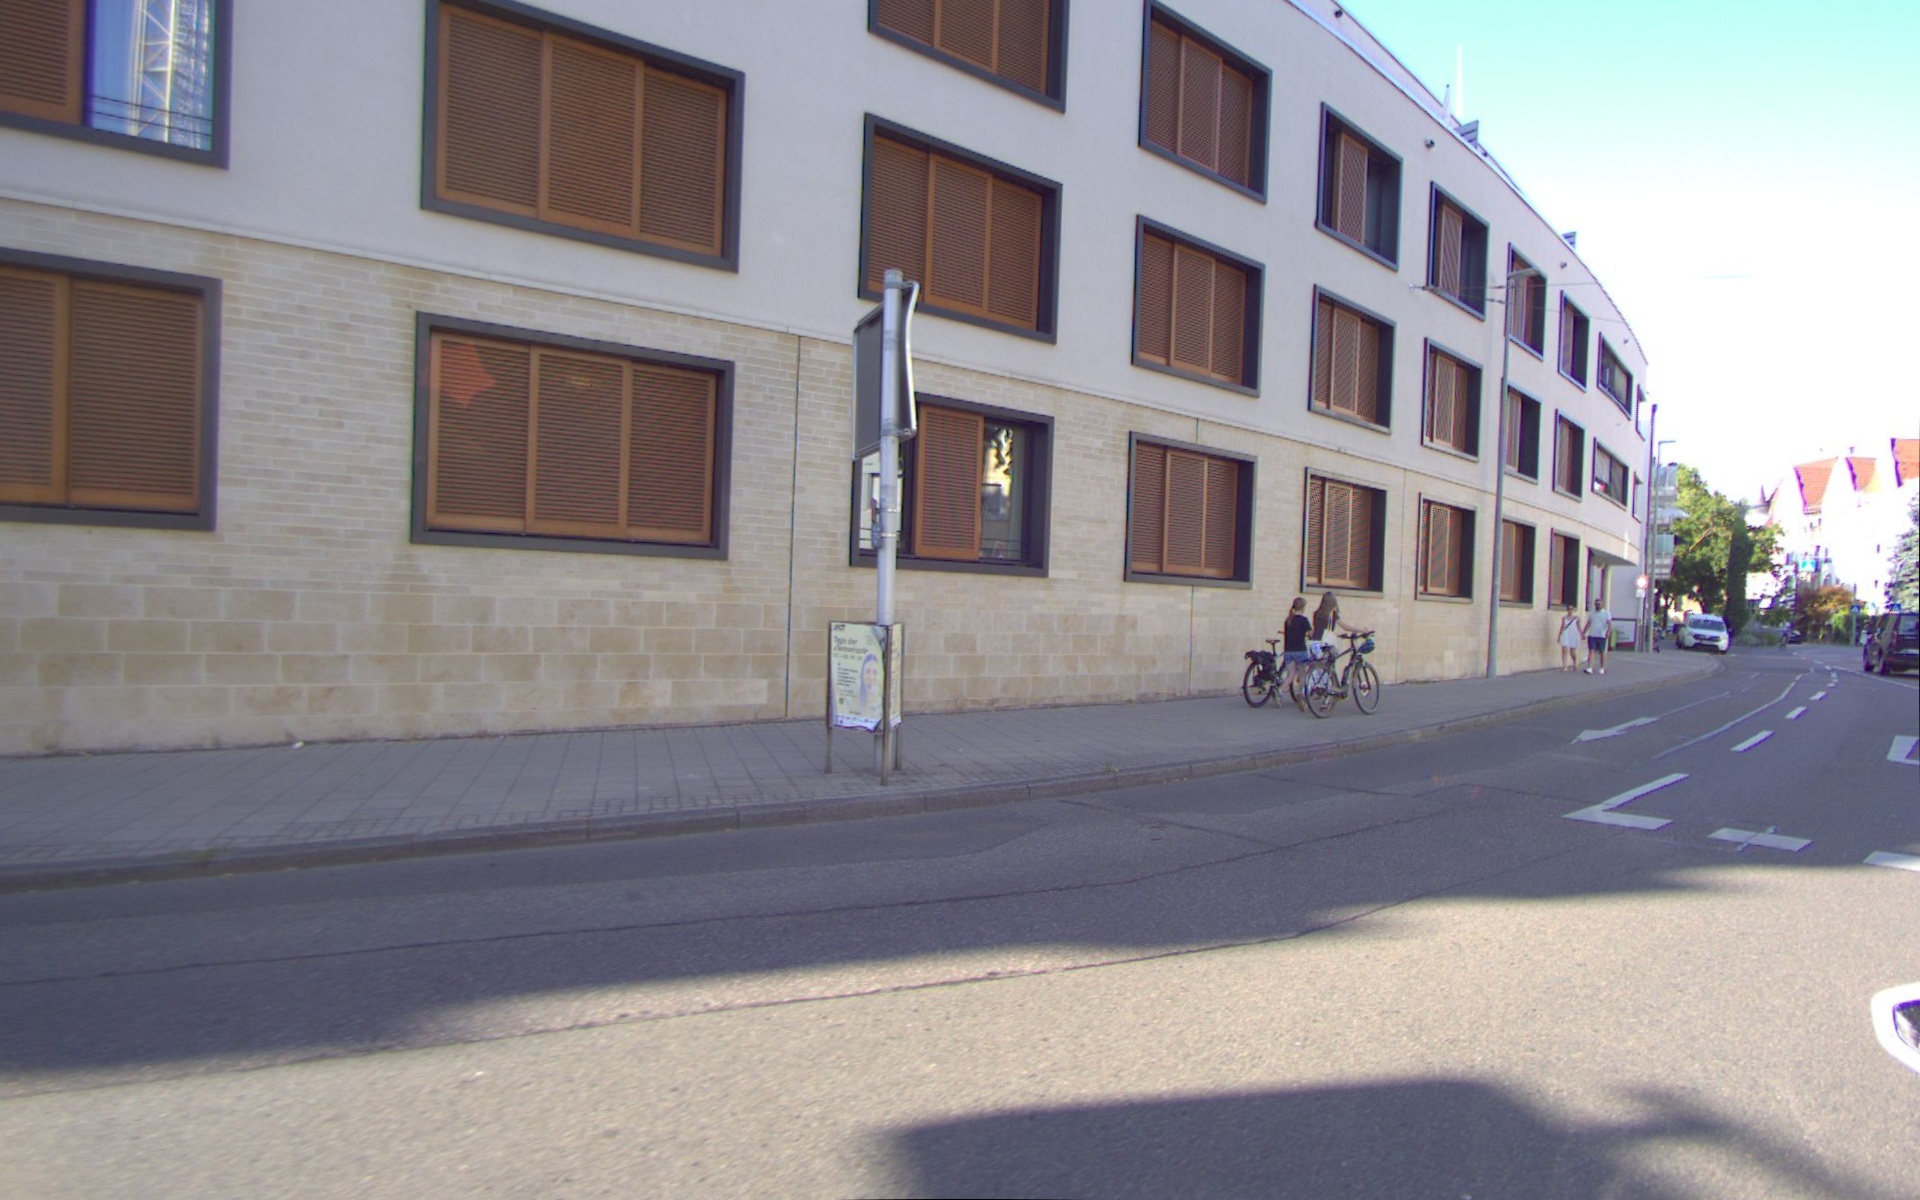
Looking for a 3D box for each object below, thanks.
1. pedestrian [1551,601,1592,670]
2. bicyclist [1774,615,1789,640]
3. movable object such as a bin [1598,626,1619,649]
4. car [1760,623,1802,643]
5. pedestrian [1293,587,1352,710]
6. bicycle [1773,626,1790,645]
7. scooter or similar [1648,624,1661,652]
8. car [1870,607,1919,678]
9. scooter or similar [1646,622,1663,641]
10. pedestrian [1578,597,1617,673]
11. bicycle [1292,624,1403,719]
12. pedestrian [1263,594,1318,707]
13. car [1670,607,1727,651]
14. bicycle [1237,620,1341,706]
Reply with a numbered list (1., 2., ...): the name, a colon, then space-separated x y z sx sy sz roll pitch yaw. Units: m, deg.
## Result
1. pedestrian: 15.847 0.910 26.021 0.694 1.737 0.838 3 1 42
2. bicyclist: 46.942 1.560 57.409 0.614 1.398 0.798 1 0 36
3. movable object such as a bin: 27.579 1.593 42.740 0.524 0.913 0.545 2 1 -31
4. car: 74.214 2.988 90.897 1.962 1.617 3.997 3 0 25
5. pedestrian: 5.077 0.660 14.066 0.597 1.669 0.470 1 1 -36
6. bicycle: 46.951 2.022 57.430 0.614 1.096 1.777 1 -1 36
7. scooter or similar: 29.849 1.623 43.164 0.399 1.191 0.945 1 1 32
8. car: 29.759 1.304 31.134 1.969 2.040 3.982 3 1 39
9. scooter or similar: 46.264 2.097 66.911 0.500 1.245 1.541 3 0 19
10. pedestrian: 16.249 0.884 25.611 0.598 1.873 0.987 3 1 42
11. bicycle: 5.300 0.935 13.684 1.949 1.194 0.437 1 2 -38
12. pedestrian: 4.765 0.720 14.488 0.597 1.586 0.470 1 0 -36
13. car: 35.499 1.395 48.352 1.785 1.894 4.322 5 1 33
14. bicycle: 4.771 0.889 14.518 1.818 1.183 0.373 1 1 -35
